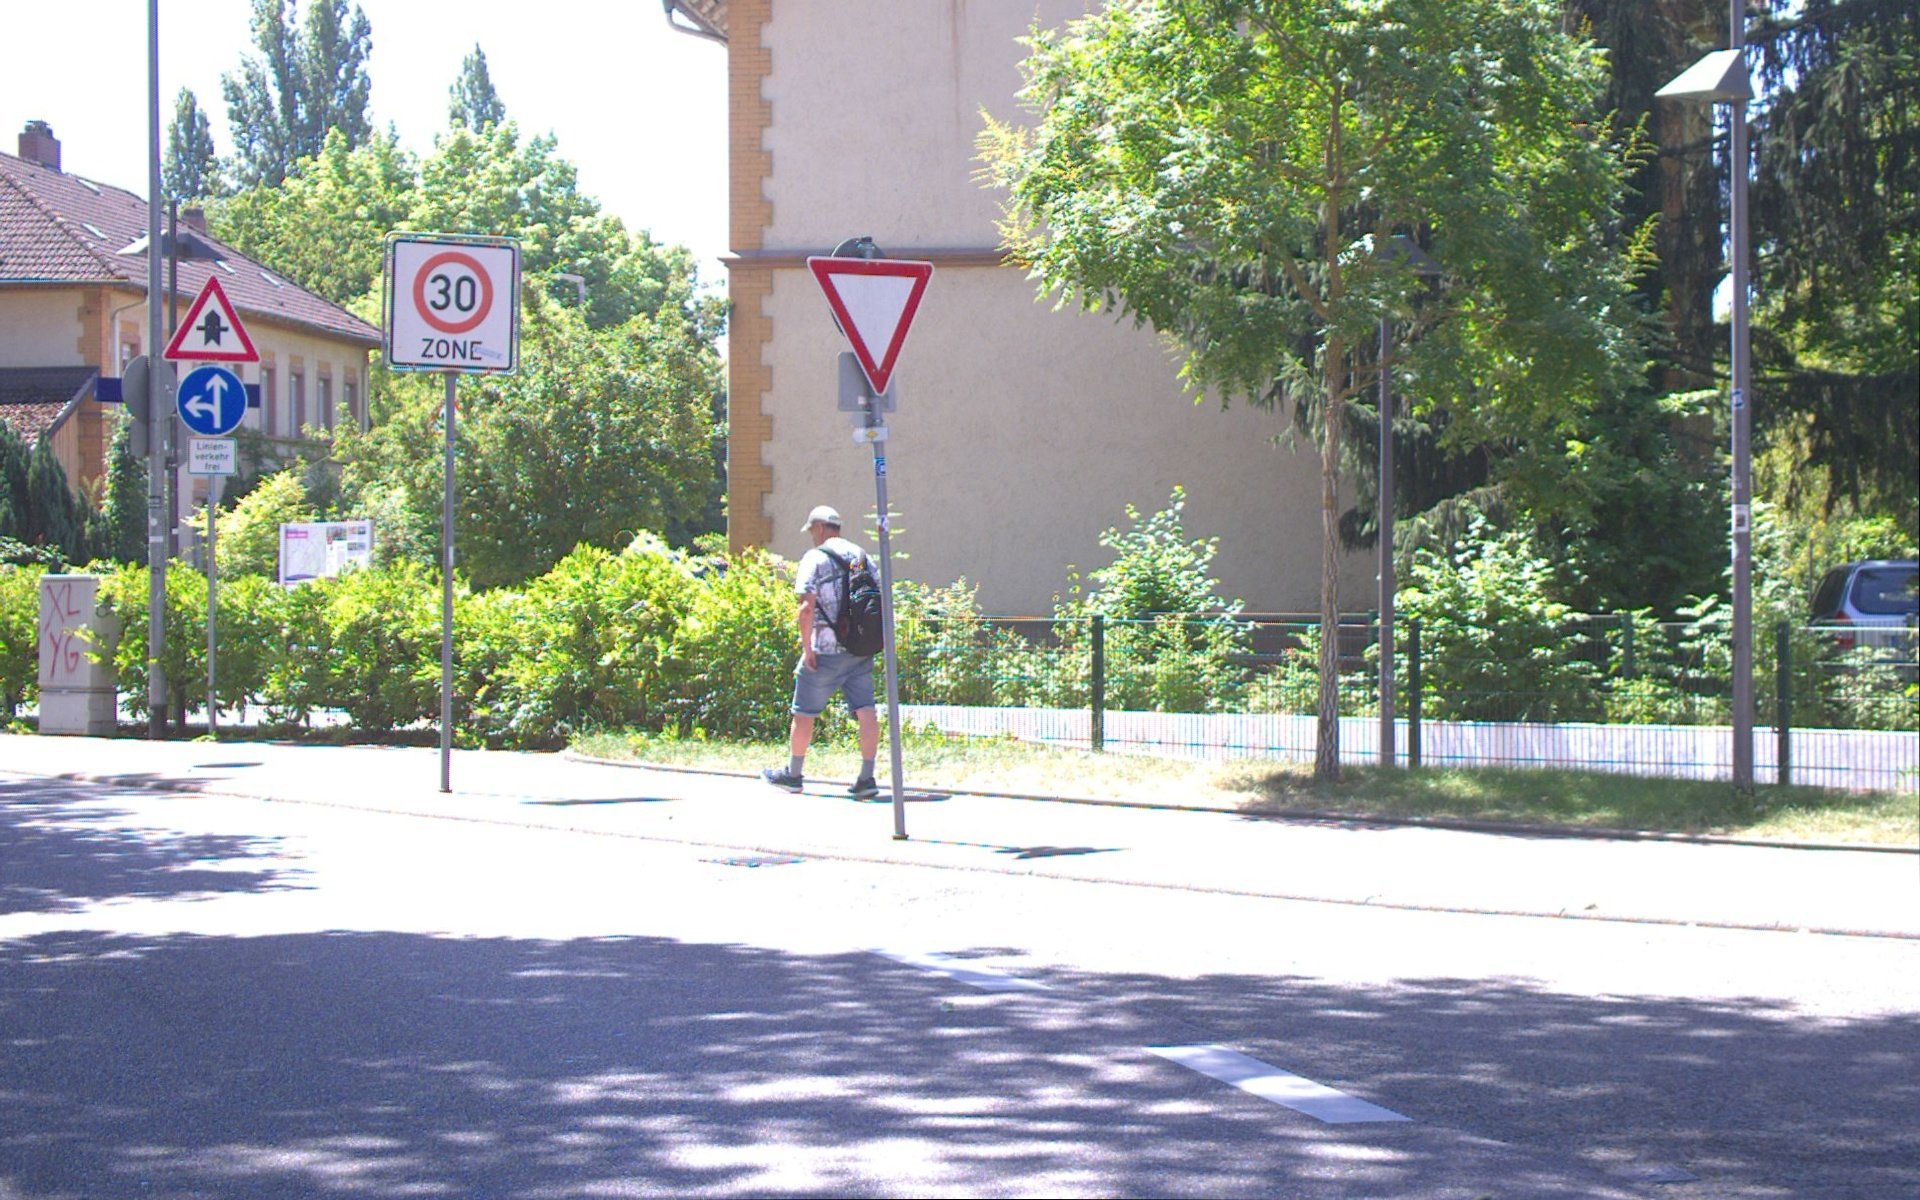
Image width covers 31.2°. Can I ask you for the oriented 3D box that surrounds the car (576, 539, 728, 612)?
[{"bbox_3d":[-9.932,-0.788,111.082,4.446,2.314,2.201,0,1,10],"label":"car"}]

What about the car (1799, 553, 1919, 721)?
[{"bbox_3d":[9.092,0.327,33.427,1.651,1.531,3.967,0,0,12],"label":"car"}]

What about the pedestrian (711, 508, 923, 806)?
[{"bbox_3d":[-0.895,0.333,21.425,0.912,1.766,0.915,-4,2,-32],"label":"pedestrian"}]
